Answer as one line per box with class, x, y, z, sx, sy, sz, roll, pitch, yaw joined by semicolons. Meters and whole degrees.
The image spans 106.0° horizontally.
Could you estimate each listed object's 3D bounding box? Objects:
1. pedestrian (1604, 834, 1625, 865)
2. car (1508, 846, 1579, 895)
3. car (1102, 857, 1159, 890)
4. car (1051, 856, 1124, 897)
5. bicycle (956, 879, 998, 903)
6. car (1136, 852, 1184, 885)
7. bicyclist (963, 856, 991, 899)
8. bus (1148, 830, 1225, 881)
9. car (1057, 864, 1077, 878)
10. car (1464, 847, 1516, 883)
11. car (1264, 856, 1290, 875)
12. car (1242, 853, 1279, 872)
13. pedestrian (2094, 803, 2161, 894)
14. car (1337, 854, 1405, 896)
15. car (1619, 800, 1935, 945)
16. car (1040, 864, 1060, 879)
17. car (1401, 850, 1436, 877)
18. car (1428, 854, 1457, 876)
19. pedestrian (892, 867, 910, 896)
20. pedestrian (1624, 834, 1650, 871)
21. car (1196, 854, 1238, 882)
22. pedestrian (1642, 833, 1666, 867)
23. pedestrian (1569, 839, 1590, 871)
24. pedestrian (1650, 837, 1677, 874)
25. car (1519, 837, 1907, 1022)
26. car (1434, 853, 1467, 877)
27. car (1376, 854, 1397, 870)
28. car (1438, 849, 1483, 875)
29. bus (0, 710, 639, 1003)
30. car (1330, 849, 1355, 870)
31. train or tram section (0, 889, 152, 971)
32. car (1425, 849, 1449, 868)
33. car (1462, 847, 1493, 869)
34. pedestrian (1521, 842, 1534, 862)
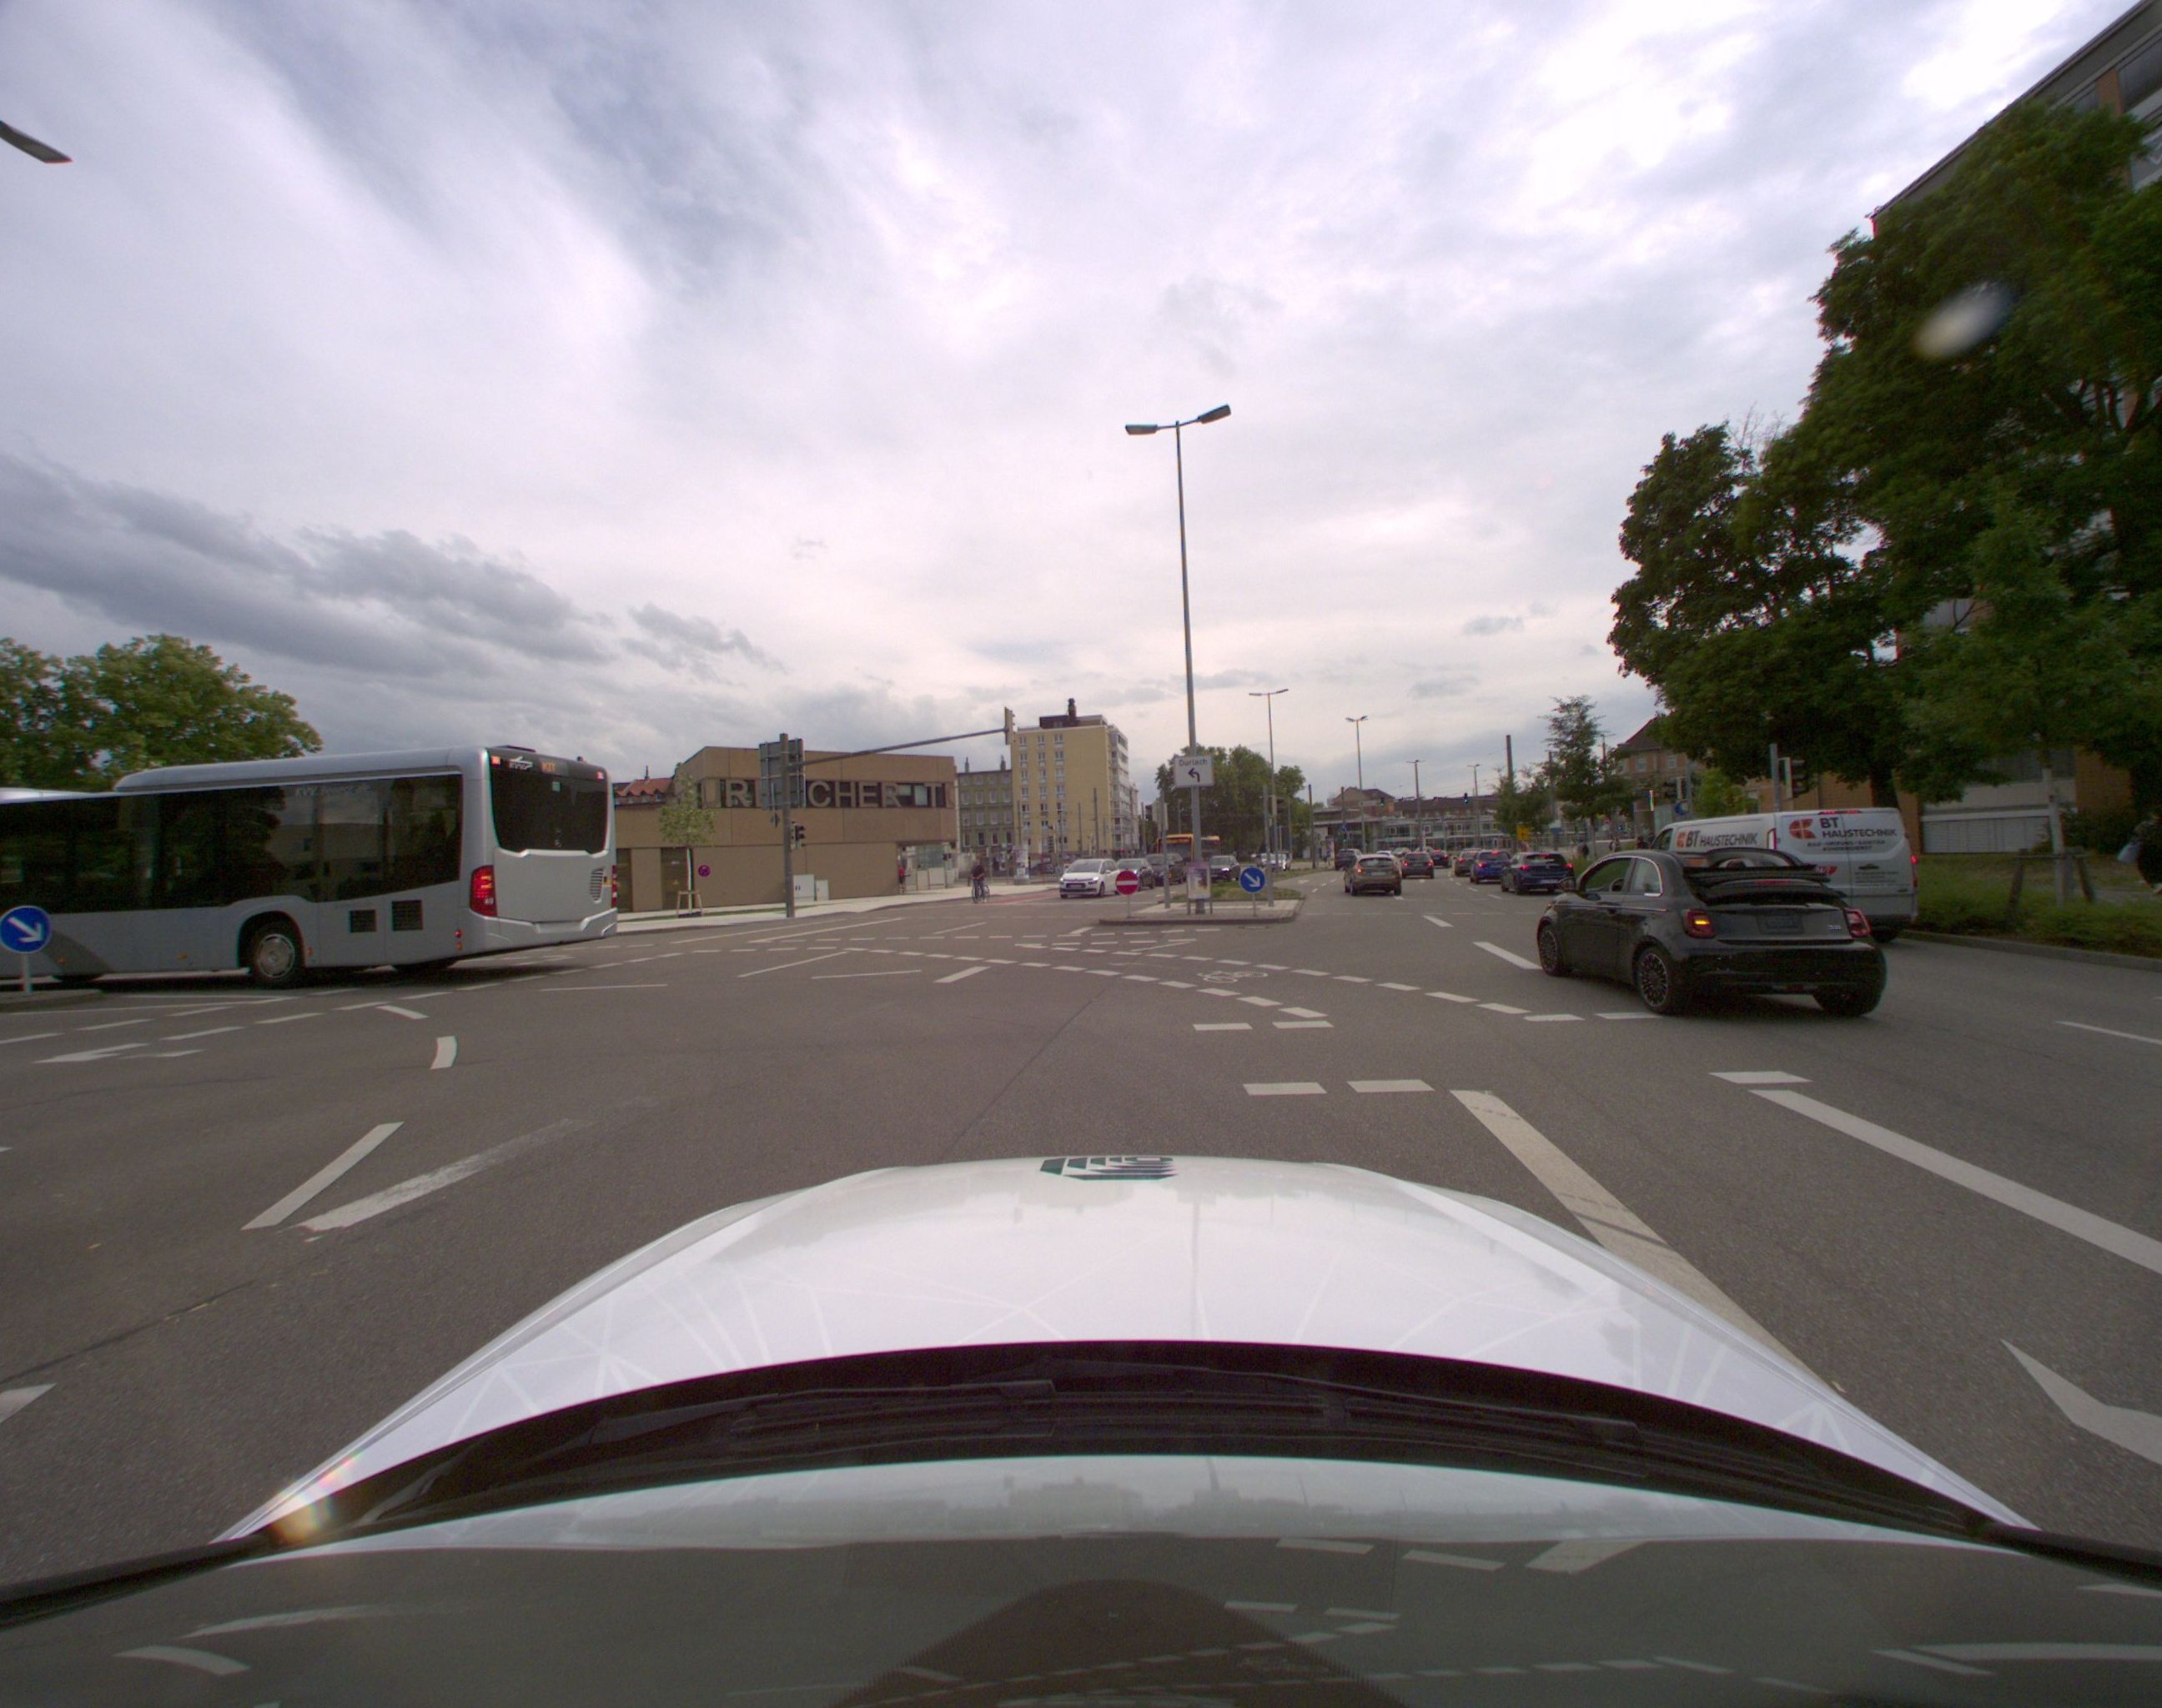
pedestrian;28.712;-0.234;43.813;0.770;1.574;0.817;-5;-2;29
car;15.408;0.535;27.264;1.651;1.508;3.654;-1;-1;23
car;2.640;0.989;42.409;1.978;1.651;4.309;-1;-1;17
car;0.345;0.938;35.293;1.978;1.651;4.309;-1;-1;17
bicycle;-4.051;1.441;31.961;0.856;0.877;2.527;-1;-1;12
car;4.751;0.859;48.492;1.978;1.899;4.309;-1;-1;17
bicyclist;-4.068;0.906;31.902;0.861;1.669;0.884;-1;-1;12
bus;7.814;0.161;58.504;3.122;3.255;12.471;-1;-1;18
car;-2.037;2.527;119.172;1.980;2.014;4.013;-1;-1;12
car;18.401;0.484;36.778;1.841;1.533;4.024;-1;-1;23
car;17.495;1.049;72.683;1.978;1.651;4.532;-1;-1;17
car;20.171;0.956;91.772;2.004;2.014;3.965;0;-1;-26
pedestrian;19.021;-0.110;14.516;0.774;1.574;0.813;-4;-1;6
car;10.371;0.727;29.336;1.685;1.405;3.710;-1;-1;10
car;11.234;0.292;13.771;1.807;1.960;5.223;-1;-1;13
car;-4.462;2.561;119.385;1.980;2.014;4.013;-1;-1;12
car;18.740;0.551;45.168;1.695;1.420;4.022;-1;-1;23
car;24.470;0.715;55.154;1.695;1.420;4.022;-1;-1;23
pedestrian;-11.087;1.715;50.090;0.814;1.733;0.773;-3;-2;-29
pedestrian;24.796;-0.072;36.342;0.770;1.574;0.817;-5;-2;29
car;8.595;0.847;51.173;1.978;1.651;4.532;-1;-1;17
pedestrian;28.284;-0.195;40.181;0.770;1.574;0.817;-5;-2;29
pedestrian;25.296;0.064;41.332;0.770;1.574;0.817;-5;-2;29
pedestrian;25.808;0.043;36.079;0.770;1.574;0.817;-5;-2;29
car;6.057;0.648;8.367;1.656;1.489;3.449;-2;-1;9
car;22.732;0.665;50.148;1.695;1.420;4.022;-1;-1;23
car;28.890;0.779;76.948;1.695;1.420;4.022;-1;-1;23
car;21.487;0.467;46.223;2.113;1.420;3.720;-1;-1;23
bus;-14.363;0.345;12.789;14.055;3.438;2.720;-4;-1;8
car;20.305;0.433;63.154;1.819;1.615;3.563;-1;-1;18
train or tram section;-46.141;3.208;33.776;9.542;3.247;3.029;0;-1;-36
car;28.237;0.366;64.633;1.695;1.420;4.022;-1;-1;23
car;26.927;0.289;55.381;1.688;1.420;3.720;-1;-1;23
pedestrian;36.525;-0.201;66.633;0.770;1.574;0.817;-5;-2;29
